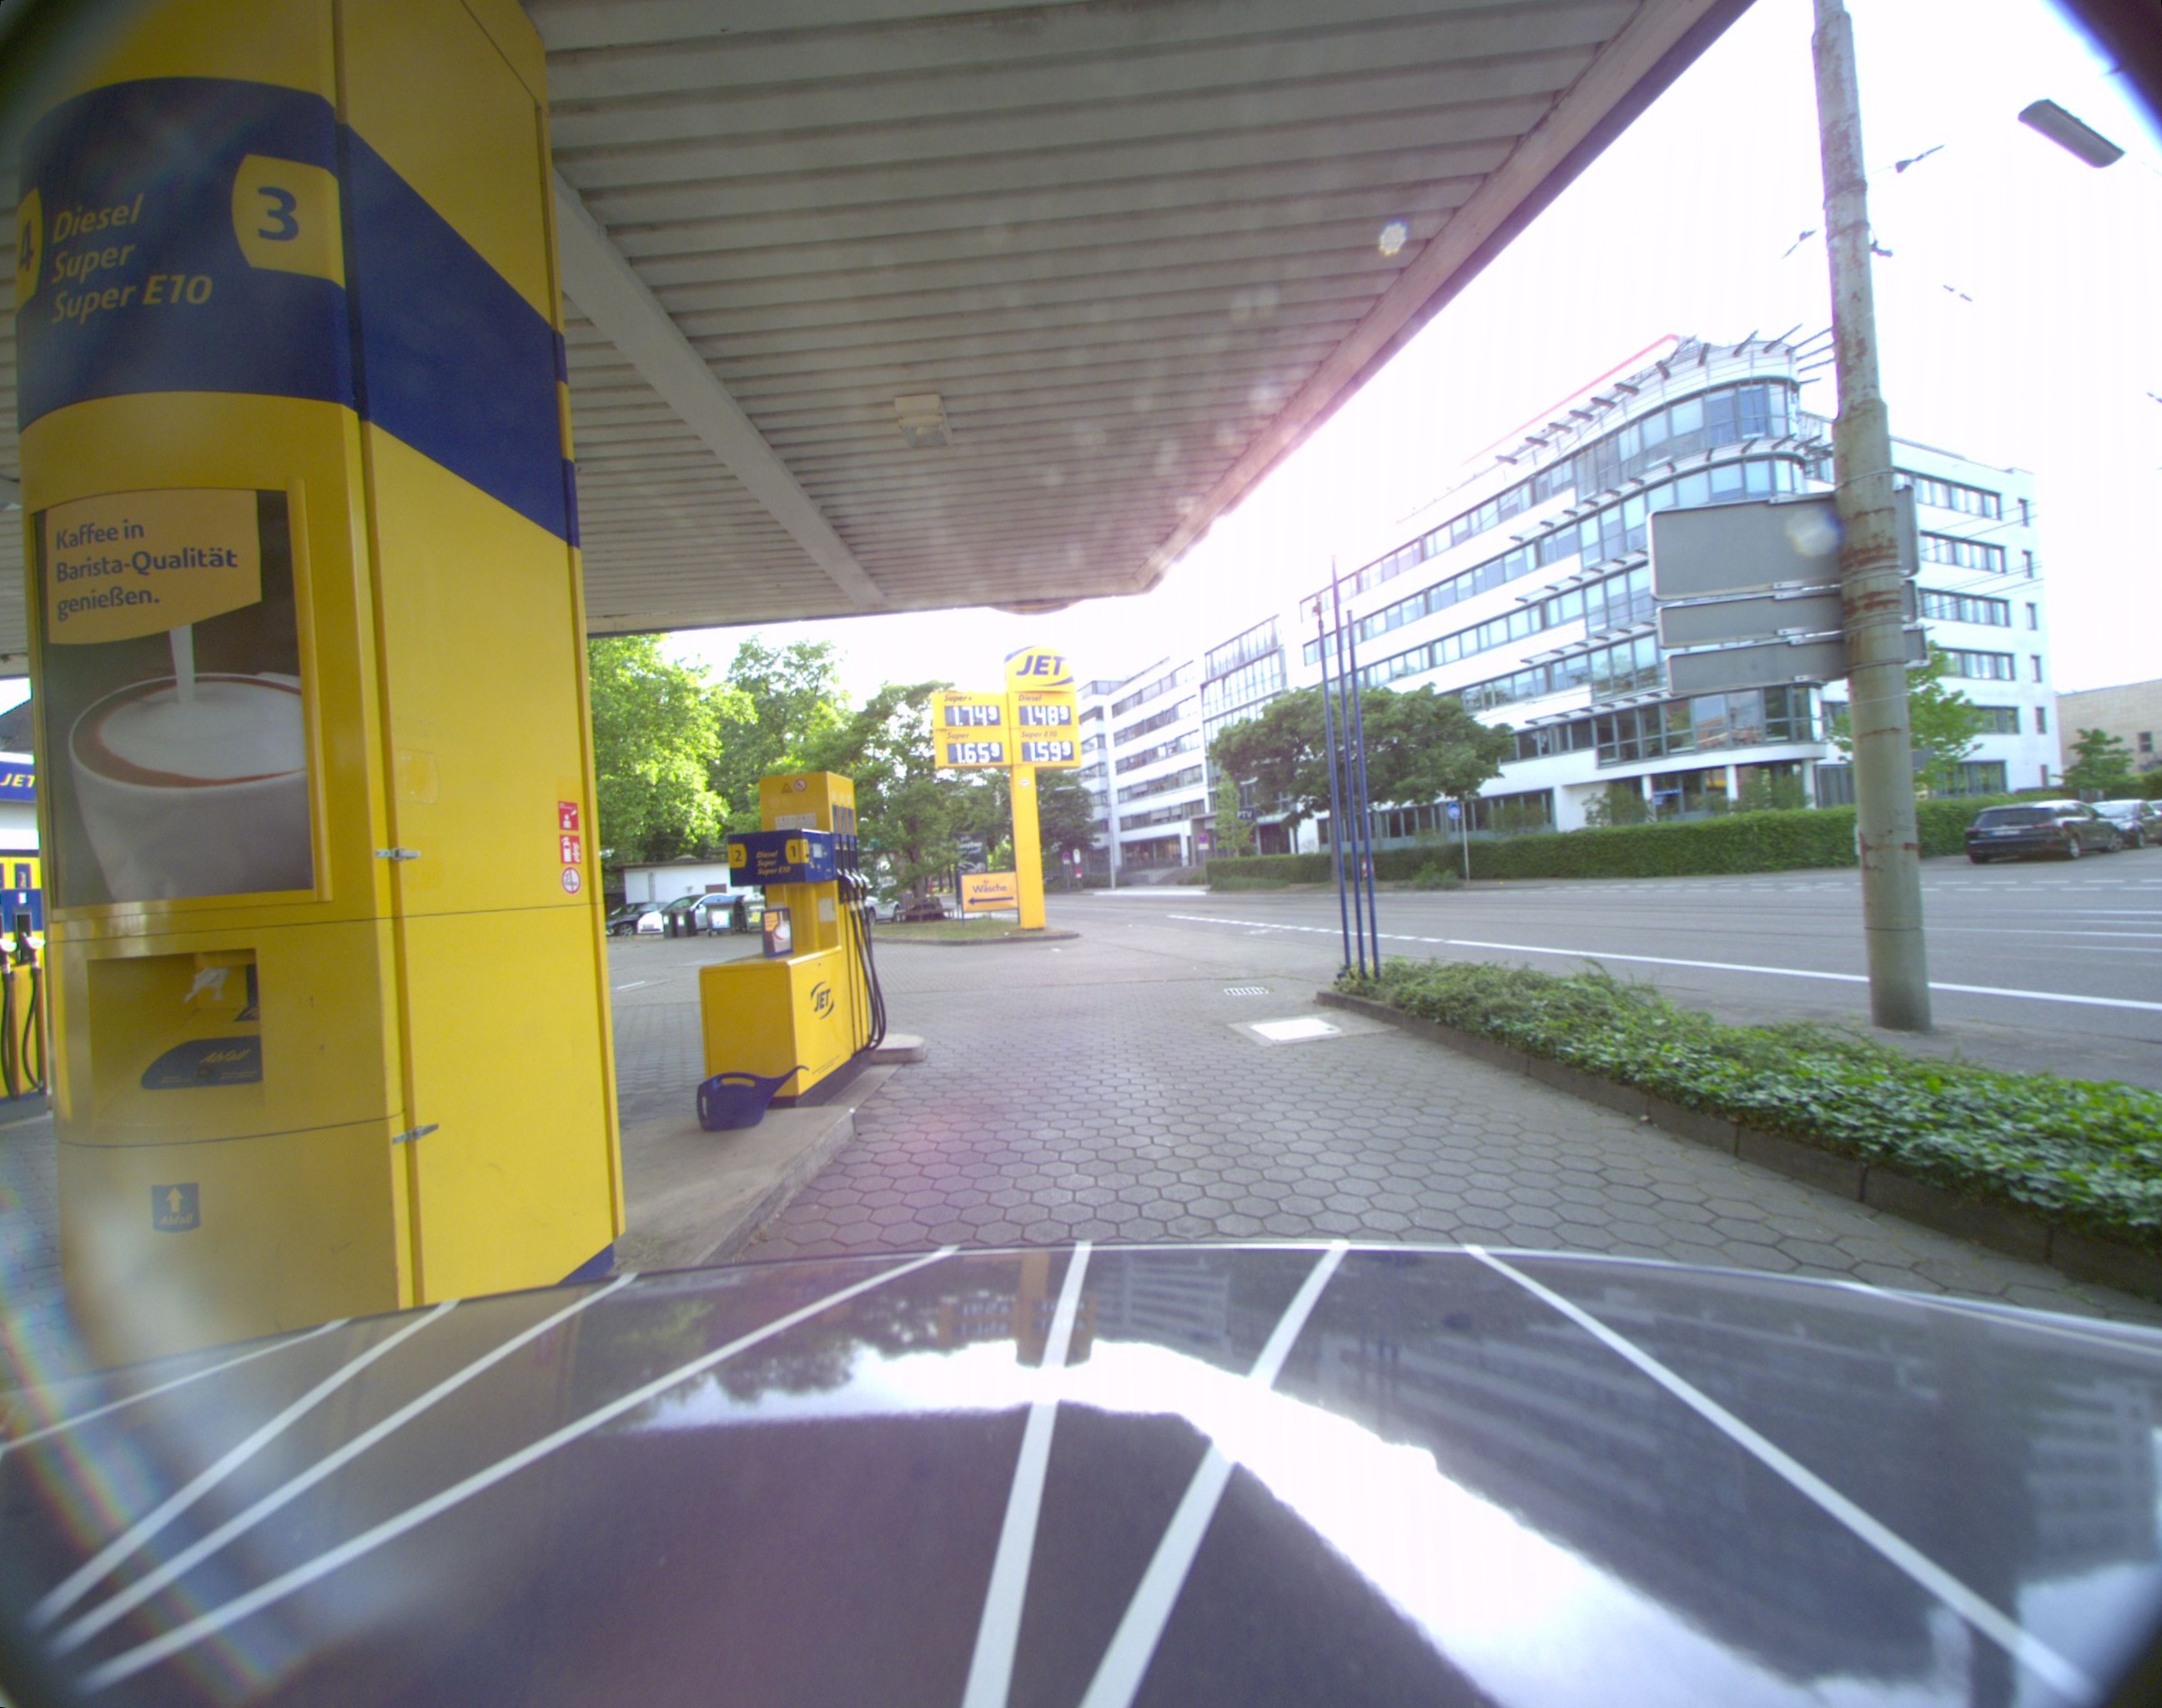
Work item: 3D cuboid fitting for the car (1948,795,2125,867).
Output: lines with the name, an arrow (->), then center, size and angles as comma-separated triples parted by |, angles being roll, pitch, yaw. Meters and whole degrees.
car -> 27.377, -0.652, 21.776 | 4.438, 1.603, 1.976 | -5, -1, -23

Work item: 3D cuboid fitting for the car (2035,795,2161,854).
car -> 32.492, -0.946, 24.047 | 4.109, 1.544, 1.786 | -4, -1, -23

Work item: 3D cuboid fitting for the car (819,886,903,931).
car -> -8.684, 2.118, 30.391 | 1.739, 1.500, 4.003 | -4, -2, 6

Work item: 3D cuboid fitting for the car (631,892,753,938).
car -> -15.358, 2.387, 30.265 | 1.785, 1.514, 4.229 | -4, -3, 17

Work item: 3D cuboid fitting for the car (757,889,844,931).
car -> -11.800, 2.325, 32.253 | 1.739, 1.500, 4.004 | -4, -2, 6

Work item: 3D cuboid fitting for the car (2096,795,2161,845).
car -> 37.152, -1.242, 26.084 | 4.109, 1.544, 1.786 | -4, -1, -23

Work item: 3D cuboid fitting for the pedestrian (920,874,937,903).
pedestrian -> -10.722, 2.441, 53.540 | 0.934, 2.001, 1.214 | -2, -1, -19

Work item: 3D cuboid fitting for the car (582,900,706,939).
car -> -17.744, 2.635, 31.081 | 1.745, 1.269, 4.230 | -5, -3, 19
